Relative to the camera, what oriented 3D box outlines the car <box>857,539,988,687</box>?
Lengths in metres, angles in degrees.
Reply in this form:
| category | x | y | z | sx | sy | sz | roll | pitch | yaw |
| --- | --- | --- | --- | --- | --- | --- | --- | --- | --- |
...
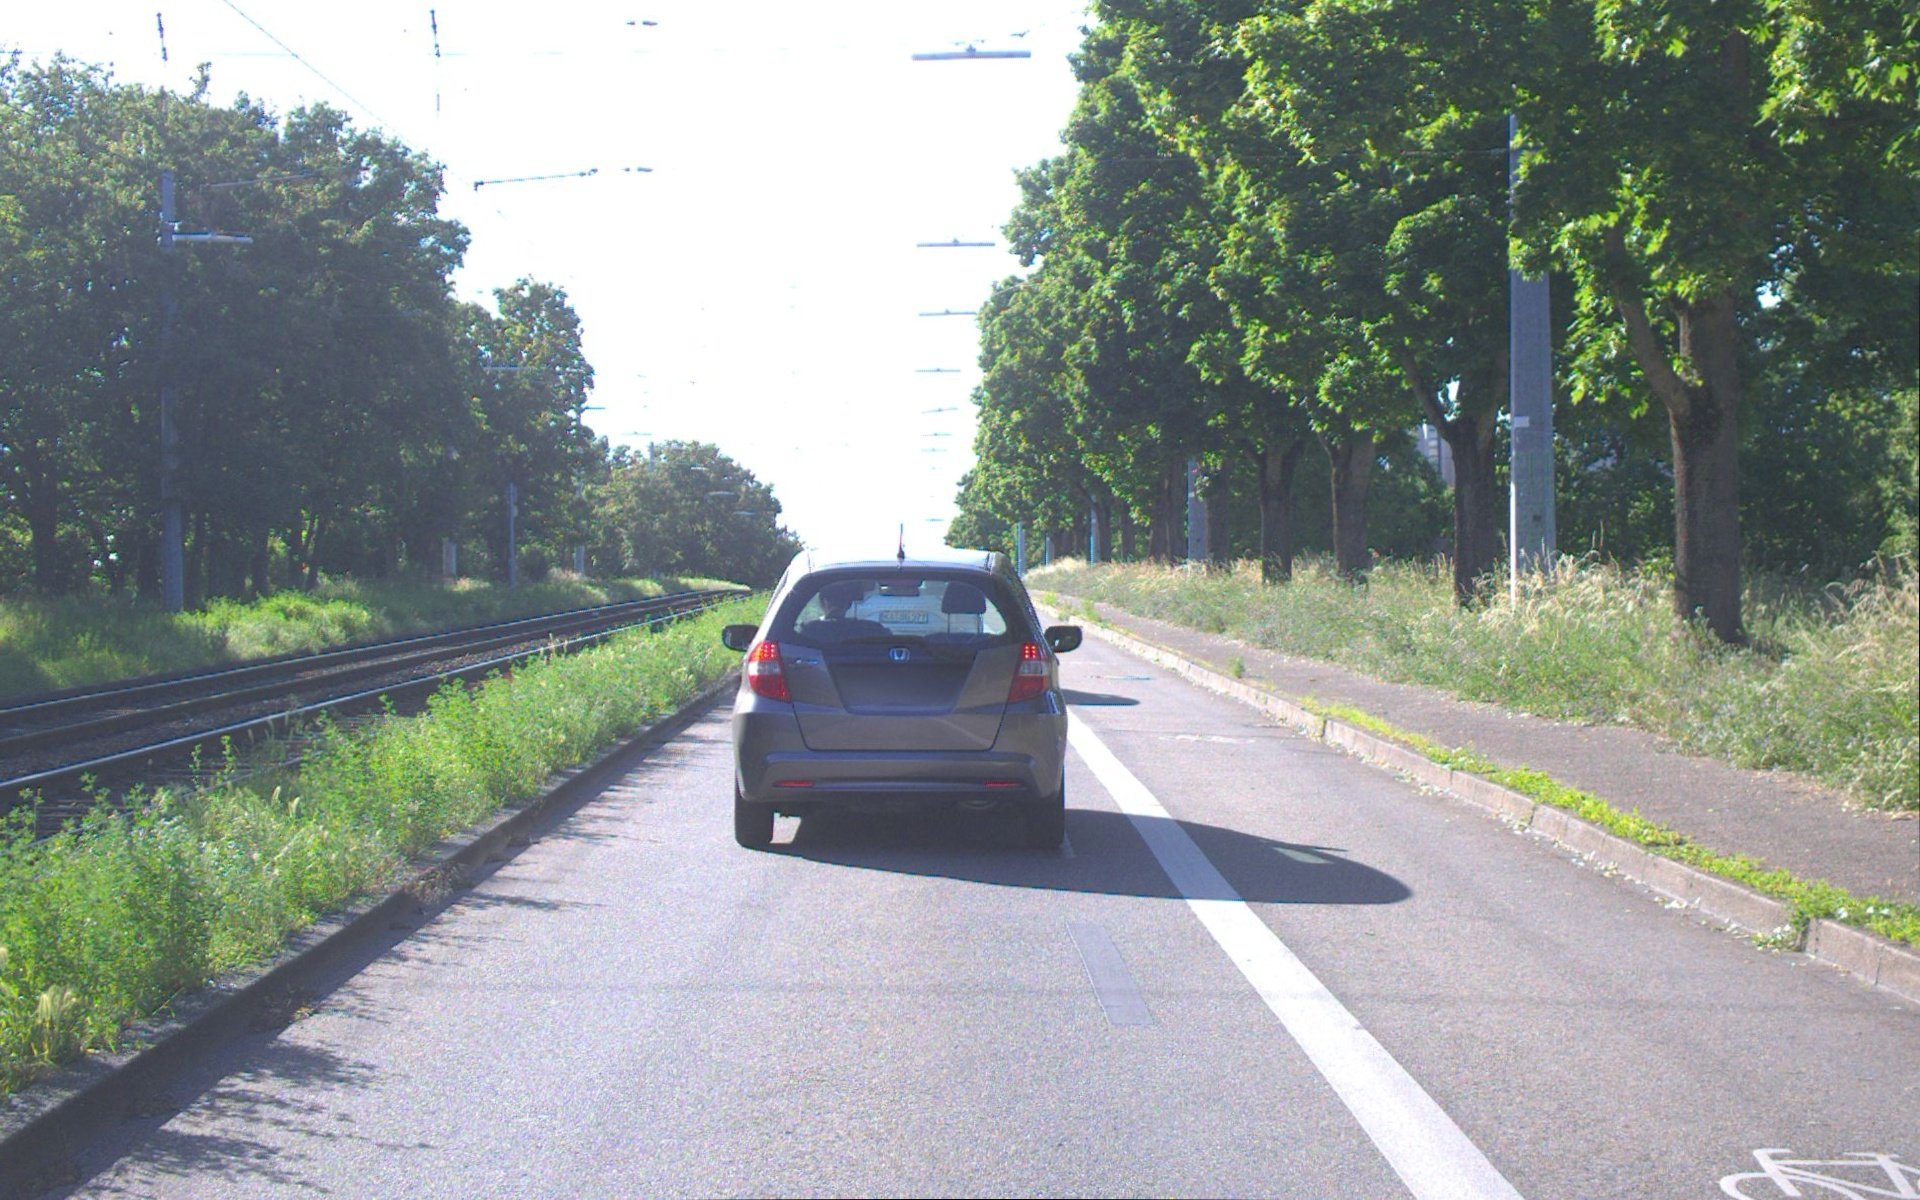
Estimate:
| category | x | y | z | sx | sy | sz | roll | pitch | yaw |
| --- | --- | --- | --- | --- | --- | --- | --- | --- | --- |
| car | -0.379 | 0.139 | 37.570 | 1.351 | 1.522 | 3.123 | -1 | 0 | 0 |

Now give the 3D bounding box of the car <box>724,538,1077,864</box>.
| category | x | y | z | sx | sy | sz | roll | pitch | yaw |
| --- | --- | --- | --- | --- | --- | --- | --- | --- | --- |
| car | -0.339 | 0.455 | 18.430 | 1.670 | 1.510 | 3.674 | 1 | 1 | -2 |
